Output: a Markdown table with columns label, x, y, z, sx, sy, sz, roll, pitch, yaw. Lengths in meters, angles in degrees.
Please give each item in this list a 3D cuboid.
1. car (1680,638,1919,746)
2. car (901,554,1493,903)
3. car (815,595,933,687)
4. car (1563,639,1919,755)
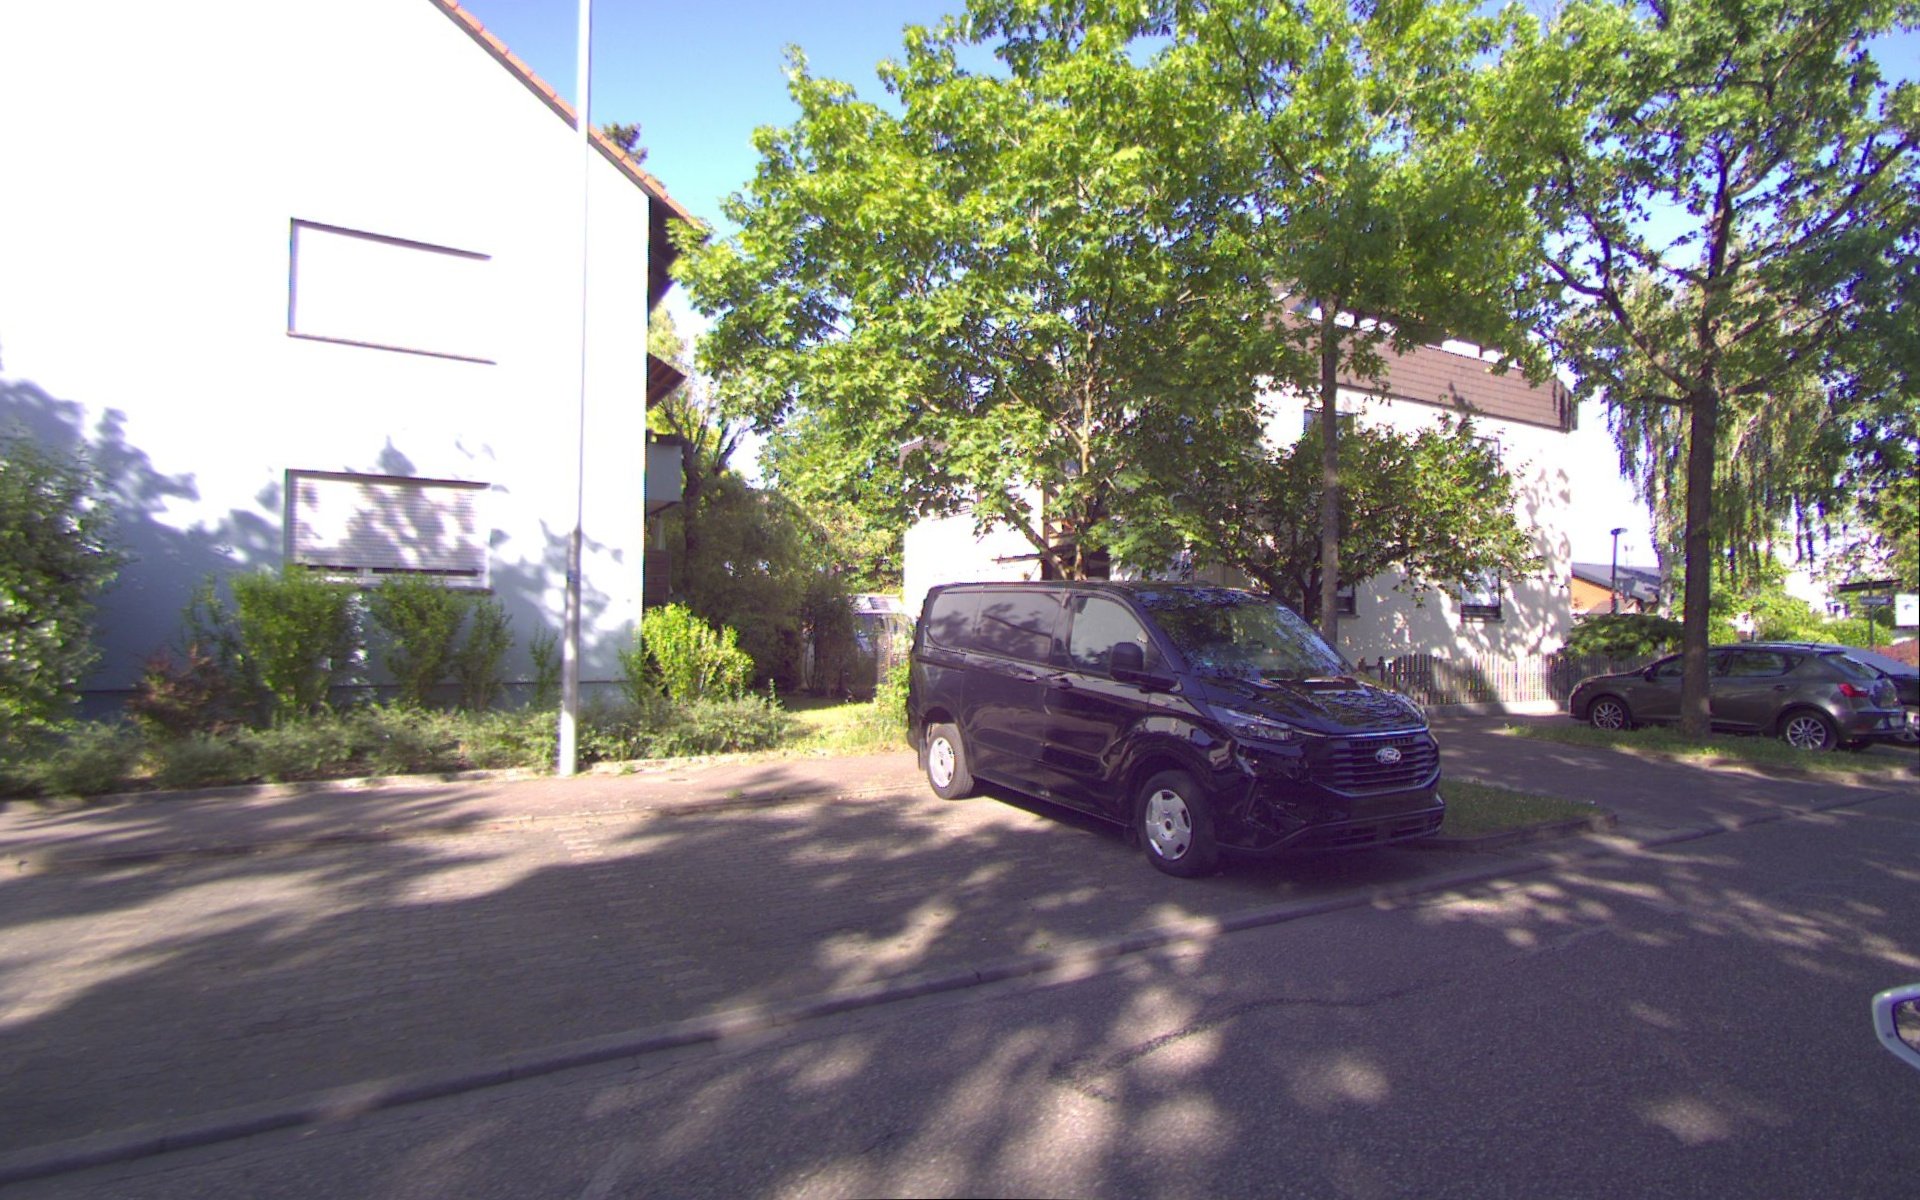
| label | x | y | z | sx | sy | sz | roll | pitch | yaw |
| --- | --- | --- | --- | --- | --- | --- | --- | --- | --- |
| car | 13.971 | 1.384 | 15.919 | 1.692 | 1.478 | 3.842 | 1 | -1 | -28 |
| car | 1.476 | 0.803 | 8.192 | 1.995 | 1.942 | 4.756 | 1 | -2 | -30 |
| car | -2.574 | 1.191 | 29.096 | 2.001 | 2.457 | 4.362 | 2 | -3 | -25 |
| car | 11.262 | 1.305 | 14.730 | 1.751 | 1.438 | 3.801 | 1 | -2 | -30 |
